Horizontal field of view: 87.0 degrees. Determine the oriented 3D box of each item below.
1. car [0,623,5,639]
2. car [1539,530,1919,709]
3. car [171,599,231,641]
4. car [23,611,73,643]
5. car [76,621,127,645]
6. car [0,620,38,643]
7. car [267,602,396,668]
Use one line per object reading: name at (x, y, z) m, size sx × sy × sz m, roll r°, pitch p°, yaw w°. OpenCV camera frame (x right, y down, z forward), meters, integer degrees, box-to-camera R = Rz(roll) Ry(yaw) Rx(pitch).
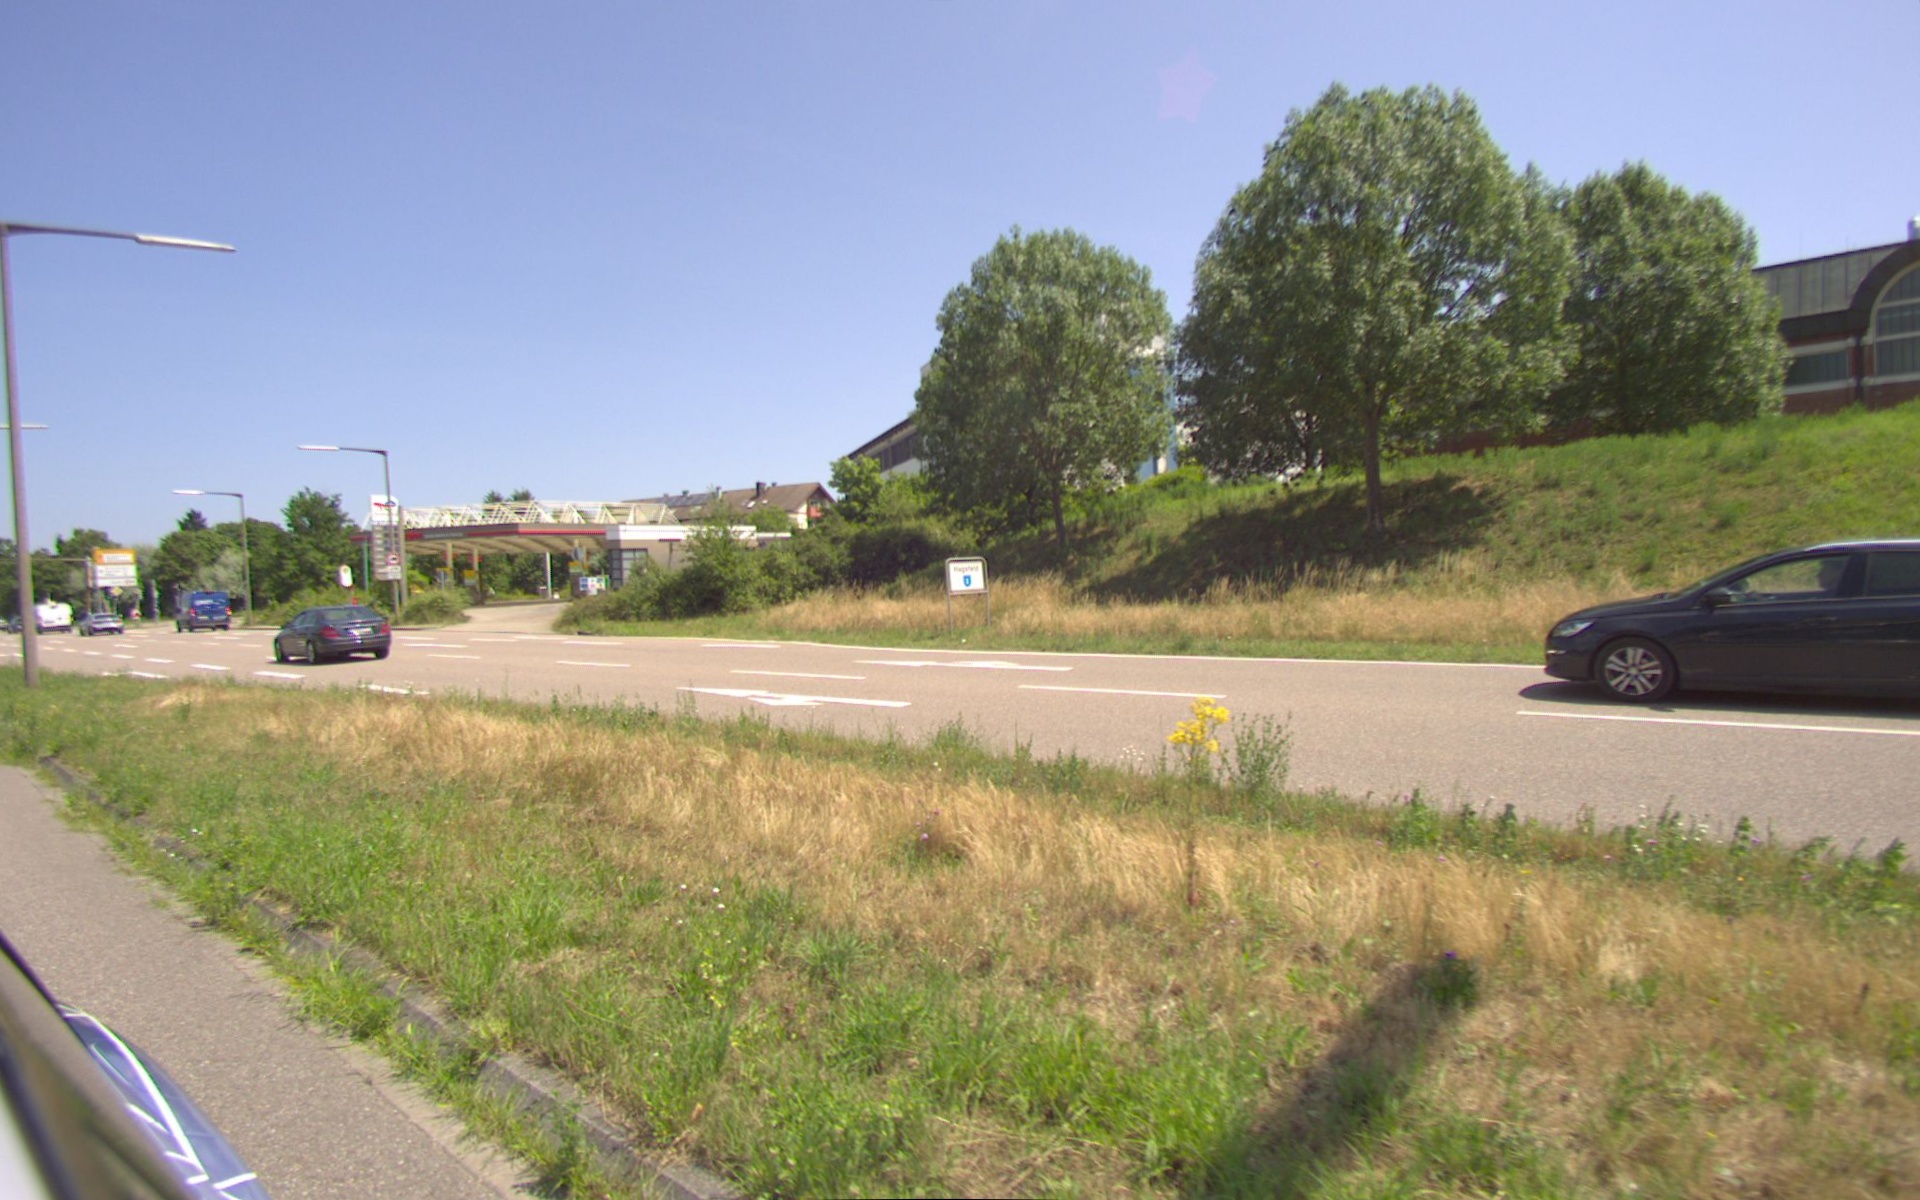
car at (-97.493, 3.235, 101.649) m, size 3.996 × 1.550 × 1.643 m, roll -2°, pitch 4°, yaw 39°
car at (7.992, 0.117, 8.946) m, size 4.664 × 1.369 × 1.973 m, roll -2°, pitch 3°, yaw 42°
car at (-48.133, 1.257, 64.133) m, size 5.673 × 2.429 × 2.149 m, roll -2°, pitch 1°, yaw 45°
car at (-71.755, 2.111, 79.596) m, size 5.446 × 2.289 × 2.226 m, roll -1°, pitch 3°, yaw 42°
car at (-57.608, 2.223, 67.890) m, size 4.847 × 1.460 × 1.813 m, roll -2°, pitch 1°, yaw 40°
car at (-82.267, 2.749, 88.219) m, size 5.016 × 1.763 × 1.946 m, roll -1°, pitch 3°, yaw 39°
car at (-16.387, 0.901, 26.310) m, size 3.997 × 1.503 × 1.675 m, roll -2°, pitch 1°, yaw 40°
